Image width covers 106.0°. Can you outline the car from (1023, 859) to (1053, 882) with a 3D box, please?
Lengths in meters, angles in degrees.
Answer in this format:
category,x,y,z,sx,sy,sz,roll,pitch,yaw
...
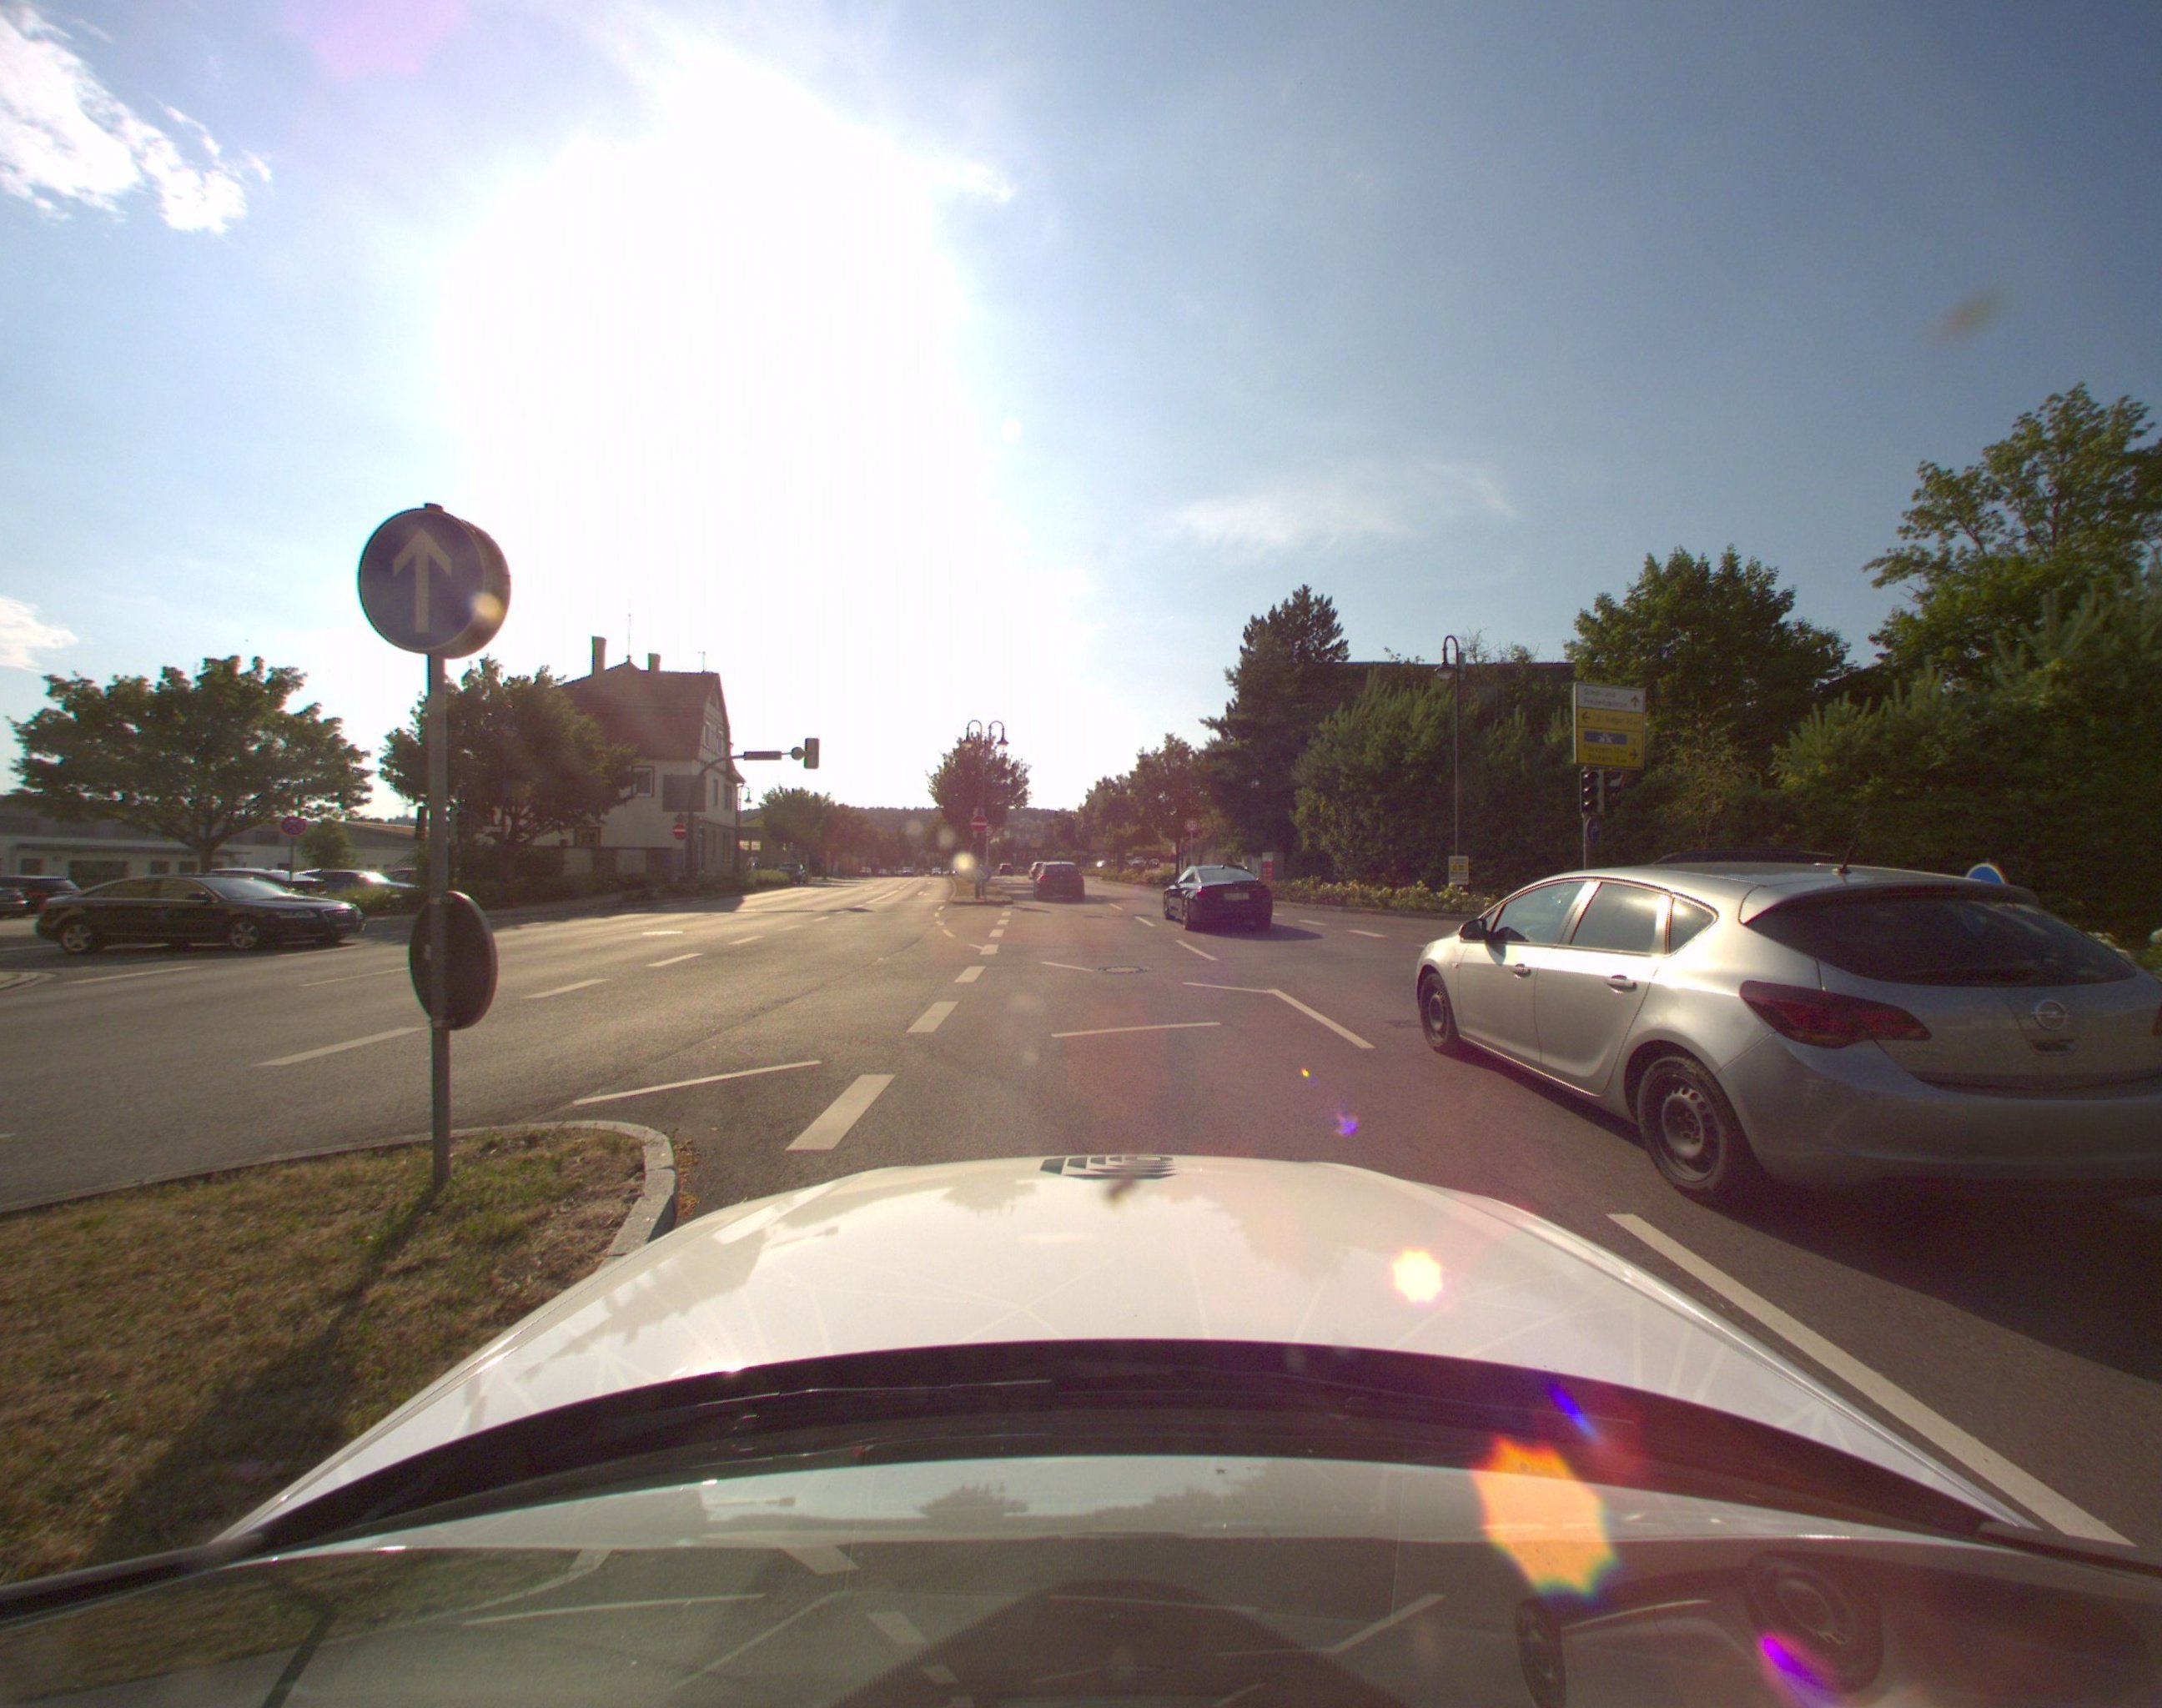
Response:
category,x,y,z,sx,sy,sz,roll,pitch,yaw
car,-3.658,1.367,68.351,1.925,1.769,4.438,-1,-1,-10

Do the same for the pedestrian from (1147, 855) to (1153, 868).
category,x,y,z,sx,sy,sz,roll,pitch,yaw
pedestrian,9.718,1.067,114.546,0.694,1.703,0.949,-1,-1,-2

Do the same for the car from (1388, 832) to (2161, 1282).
category,x,y,z,sx,sy,sz,roll,pitch,yaw
car,3.466,0.673,4.883,1.714,1.490,4.308,-1,0,2

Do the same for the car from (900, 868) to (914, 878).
category,x,y,z,sx,sy,sz,roll,pitch,yaw
car,-24.423,2.637,114.432,1.756,1.361,4.468,-1,-1,-10

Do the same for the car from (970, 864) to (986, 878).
category,x,y,z,sx,sy,sz,roll,pitch,yaw
car,-13.047,2.127,103.202,1.756,1.769,3.956,-1,-1,-10

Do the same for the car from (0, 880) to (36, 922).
category,x,y,z,sx,sy,sz,roll,pitch,yaw
car,-38.456,1.635,27.475,3.649,1.400,1.741,-1,-1,-13

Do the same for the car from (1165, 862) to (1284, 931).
category,x,y,z,sx,sy,sz,roll,pitch,yaw
car,3.124,0.893,18.665,1.915,1.364,4.351,-1,-1,-1

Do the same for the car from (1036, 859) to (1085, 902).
category,x,y,z,sx,sy,sz,roll,pitch,yaw
car,-0.835,0.950,31.003,1.717,1.490,4.348,0,-1,-3

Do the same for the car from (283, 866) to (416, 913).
category,x,y,z,sx,sy,sz,roll,pitch,yaw
car,-27.777,1.317,31.031,3.289,1.639,1.741,-1,-1,-13

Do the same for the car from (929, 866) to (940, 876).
category,x,y,z,sx,sy,sz,roll,pitch,yaw
car,-25.743,2.976,142.781,1.729,1.679,3.988,-1,-1,-9

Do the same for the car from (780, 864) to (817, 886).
category,x,y,z,sx,sy,sz,roll,pitch,yaw
car,-20.228,1.493,58.417,1.756,1.454,4.118,4,-1,-10

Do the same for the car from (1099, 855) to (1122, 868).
category,x,y,z,sx,sy,sz,roll,pitch,yaw
car,5.038,1.296,138.003,2.120,2.130,5.153,-1,-1,23

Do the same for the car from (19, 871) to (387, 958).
category,x,y,z,sx,sy,sz,roll,pitch,yaw
car,-16.659,1.106,15.665,4.845,1.437,1.916,-1,-1,-2

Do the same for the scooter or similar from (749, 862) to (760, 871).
category,x,y,z,sx,sy,sz,roll,pitch,yaw
scooter or similar,-20.928,0.803,52.180,0.444,0.582,1.040,-1,0,-11

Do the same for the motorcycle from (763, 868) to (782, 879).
category,x,y,z,sx,sy,sz,roll,pitch,yaw
motorcycle,-30.810,1.914,81.404,0.511,1.069,1.881,-1,-1,26

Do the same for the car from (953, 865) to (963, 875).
category,x,y,z,sx,sy,sz,roll,pitch,yaw
car,-25.269,3.338,167.128,1.770,2.014,3.992,-1,0,-6

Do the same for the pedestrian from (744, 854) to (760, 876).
category,x,y,z,sx,sy,sz,roll,pitch,yaw
pedestrian,-21.402,0.693,53.009,0.813,1.394,0.704,-1,-1,-12

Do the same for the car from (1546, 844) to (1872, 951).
category,x,y,z,sx,sy,sz,roll,pitch,yaw
car,10.587,0.660,14.001,4.216,1.567,1.803,-1,-1,41

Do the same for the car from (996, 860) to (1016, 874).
category,x,y,z,sx,sy,sz,roll,pitch,yaw
car,-9.903,1.666,106.794,2.217,1.769,4.438,-1,-1,-10

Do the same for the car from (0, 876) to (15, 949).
category,x,y,z,sx,sy,sz,roll,pitch,yaw
car,-23.188,1.194,15.138,3.812,1.437,1.861,-1,-1,-10
